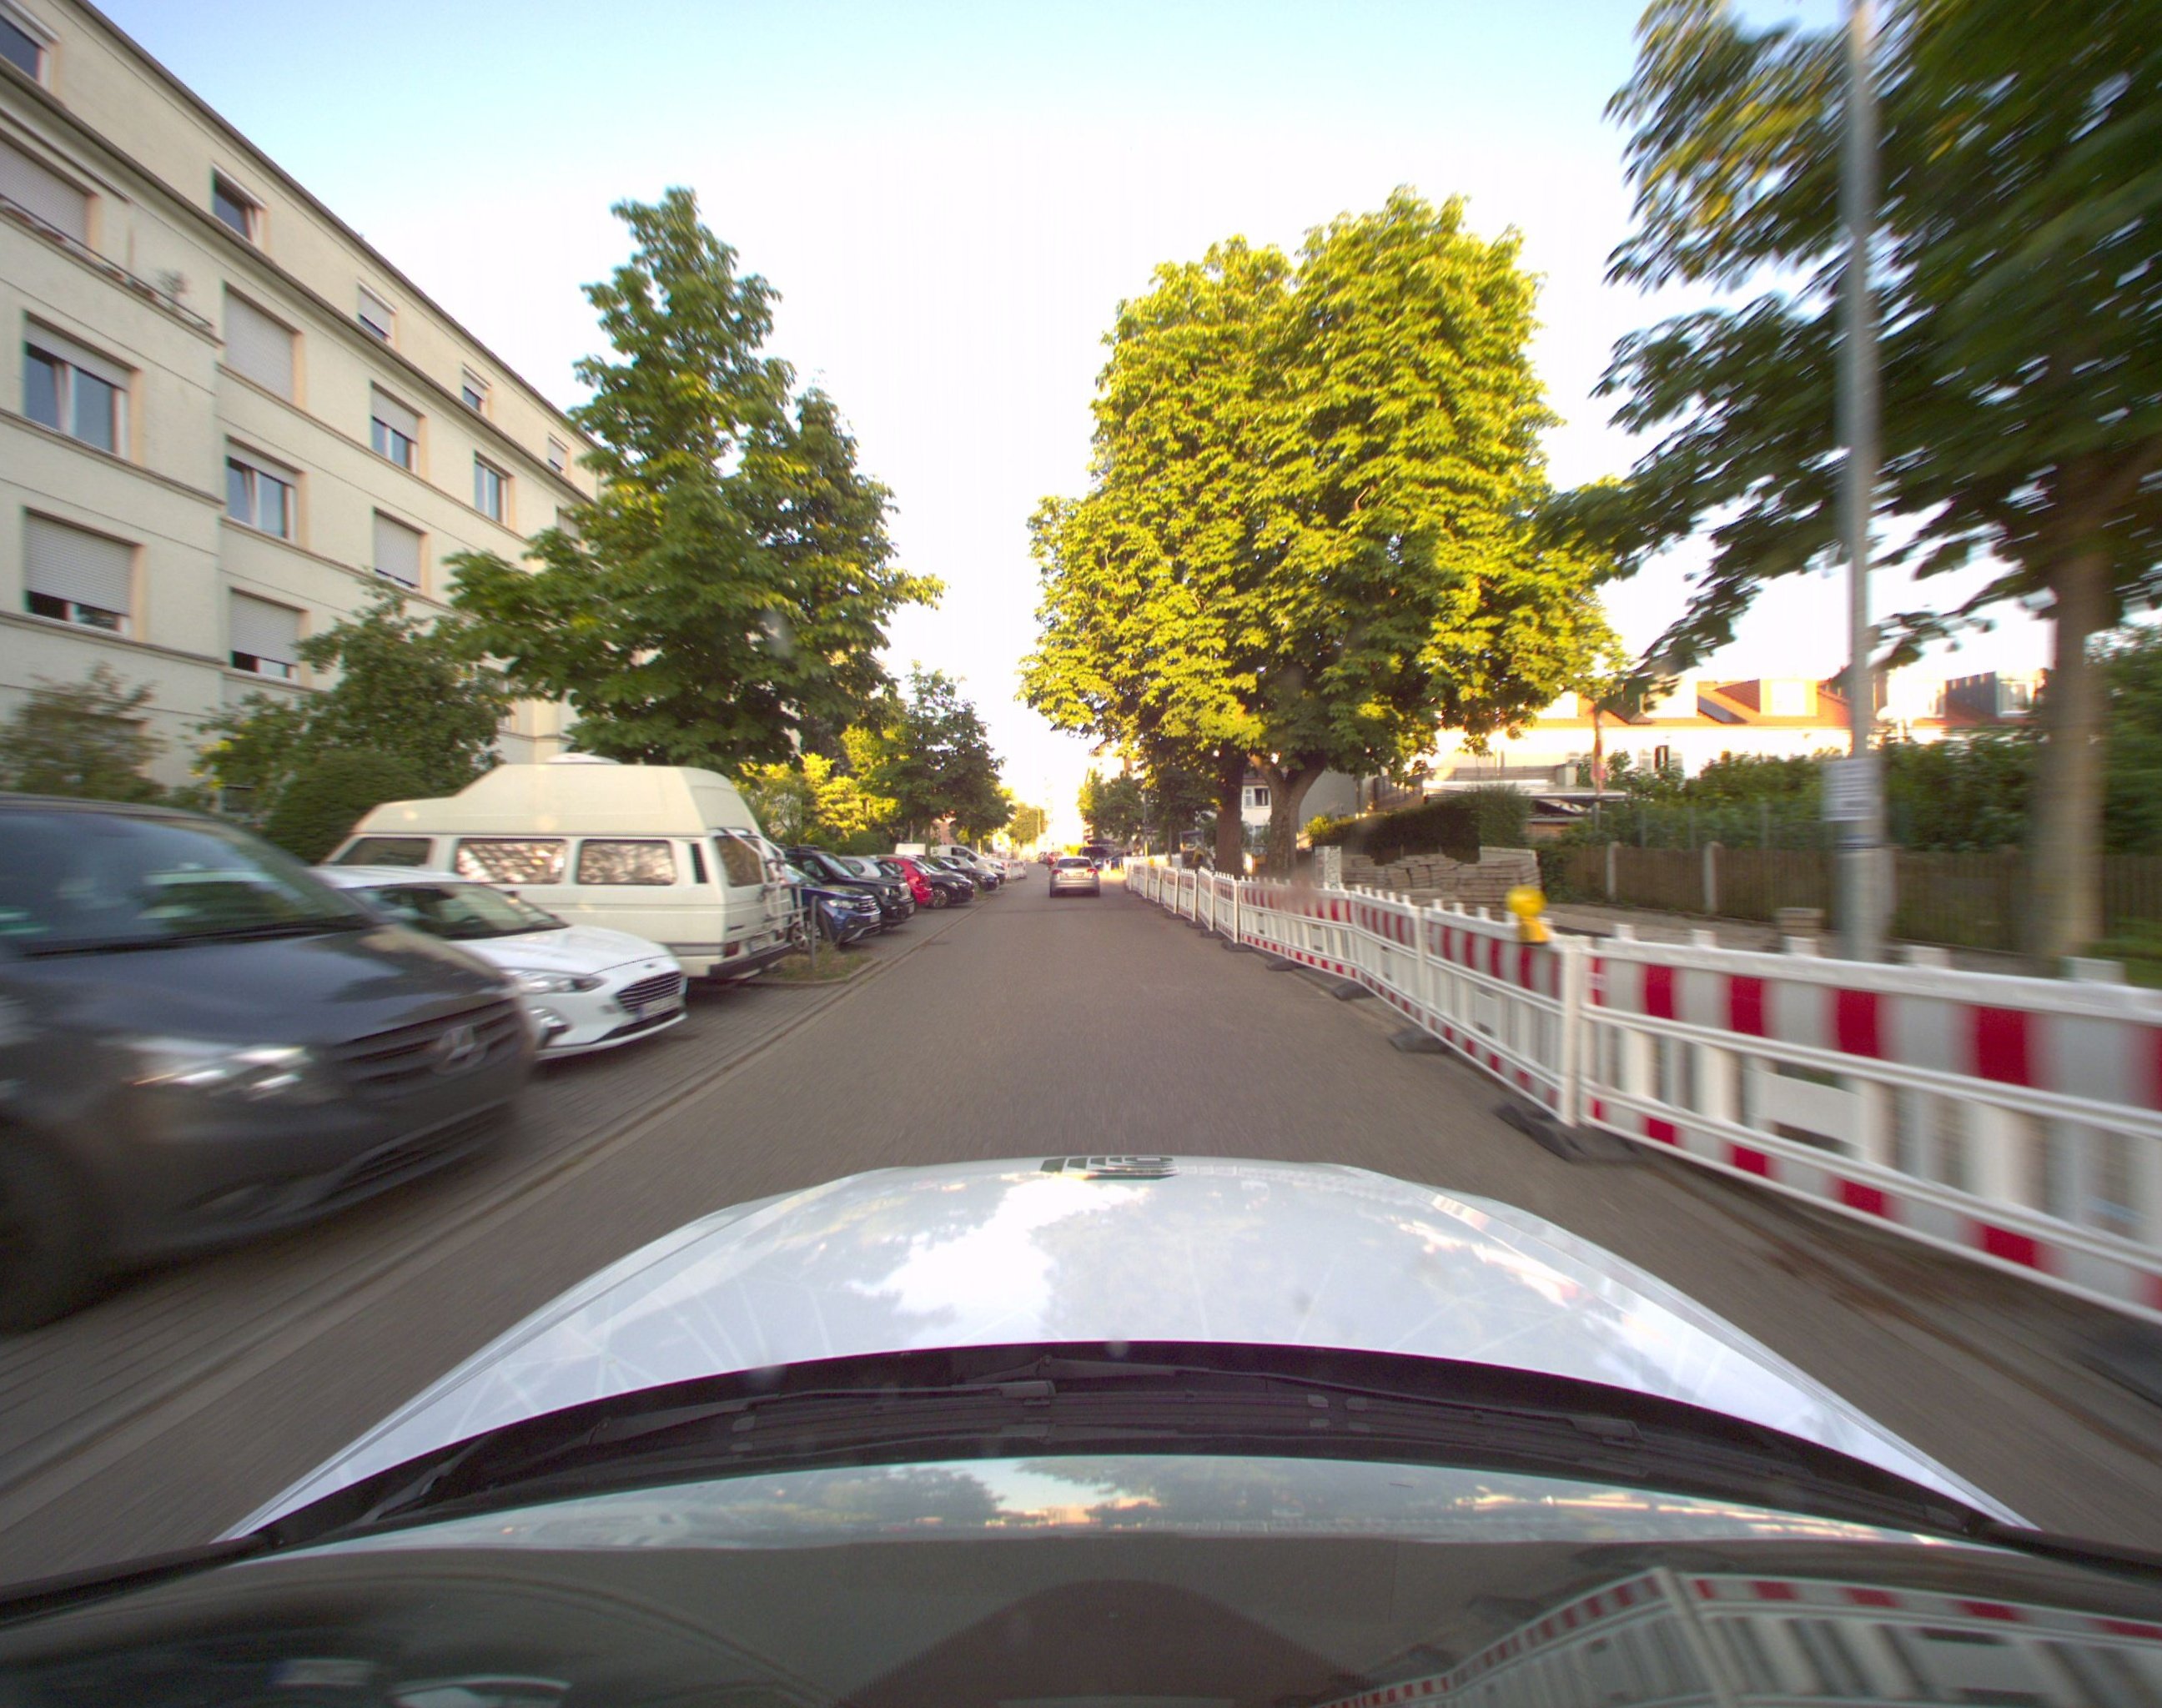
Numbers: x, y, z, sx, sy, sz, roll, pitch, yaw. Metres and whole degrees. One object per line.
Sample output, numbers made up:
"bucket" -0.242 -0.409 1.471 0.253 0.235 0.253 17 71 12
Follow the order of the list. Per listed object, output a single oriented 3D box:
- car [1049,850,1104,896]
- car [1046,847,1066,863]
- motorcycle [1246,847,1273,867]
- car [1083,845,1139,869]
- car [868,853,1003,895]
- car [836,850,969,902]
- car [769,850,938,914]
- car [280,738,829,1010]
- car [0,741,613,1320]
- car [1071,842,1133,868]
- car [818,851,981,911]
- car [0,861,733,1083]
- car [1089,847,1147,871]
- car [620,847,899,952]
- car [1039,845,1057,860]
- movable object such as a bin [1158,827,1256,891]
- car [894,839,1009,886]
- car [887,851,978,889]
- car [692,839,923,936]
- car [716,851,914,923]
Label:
"car" -0.195 0.633 29.296 1.802 1.488 3.998 -2 0 -1
"car" -2.544 0.074 82.272 1.728 1.483 3.549 0 1 -7
"motorcycle" 10.124 0.147 46.146 1.857 1.105 0.574 -1 1 -44
"car" 2.247 0.233 62.409 3.987 1.768 1.993 0 1 -10
"car" -5.363 0.723 30.481 4.760 1.470 1.879 0 0 -3
"car" -5.664 0.674 26.289 3.982 1.578 1.797 0 1 -6
"car" -5.866 0.693 21.380 3.979 1.583 1.729 0 1 -4
"car" -5.309 0.184 8.740 4.488 2.431 2.000 2 0 0
"car" -5.008 0.565 3.612 4.658 1.873 2.000 0 1 -1
"car" 1.645 0.066 64.723 4.558 2.023 2.093 0 1 -11
"car" -5.154 0.735 23.681 4.401 1.615 1.896 0 1 -6
"car" -5.286 0.796 6.450 4.161 1.425 2.000 0 1 0
"car" 2.698 0.356 59.852 3.991 1.651 1.757 0 1 -13
"car" -5.135 0.691 13.384 3.846 1.595 1.786 0 1 1
"car" -3.753 -0.170 92.808 1.807 1.612 3.573 0 1 -7
"movable object such as a bin" 4.979 0.155 33.093 2.626 2.402 5.185 0 1 -7
"car" -5.621 0.353 35.802 4.761 2.013 1.998 0 0 -3
"car" -6.013 0.622 33.250 3.404 1.483 1.758 0 1 -1
"car" -5.231 0.609 15.947 3.846 1.777 1.844 0 1 1
"car" -5.985 0.704 18.697 3.980 1.524 1.787 0 1 -5
